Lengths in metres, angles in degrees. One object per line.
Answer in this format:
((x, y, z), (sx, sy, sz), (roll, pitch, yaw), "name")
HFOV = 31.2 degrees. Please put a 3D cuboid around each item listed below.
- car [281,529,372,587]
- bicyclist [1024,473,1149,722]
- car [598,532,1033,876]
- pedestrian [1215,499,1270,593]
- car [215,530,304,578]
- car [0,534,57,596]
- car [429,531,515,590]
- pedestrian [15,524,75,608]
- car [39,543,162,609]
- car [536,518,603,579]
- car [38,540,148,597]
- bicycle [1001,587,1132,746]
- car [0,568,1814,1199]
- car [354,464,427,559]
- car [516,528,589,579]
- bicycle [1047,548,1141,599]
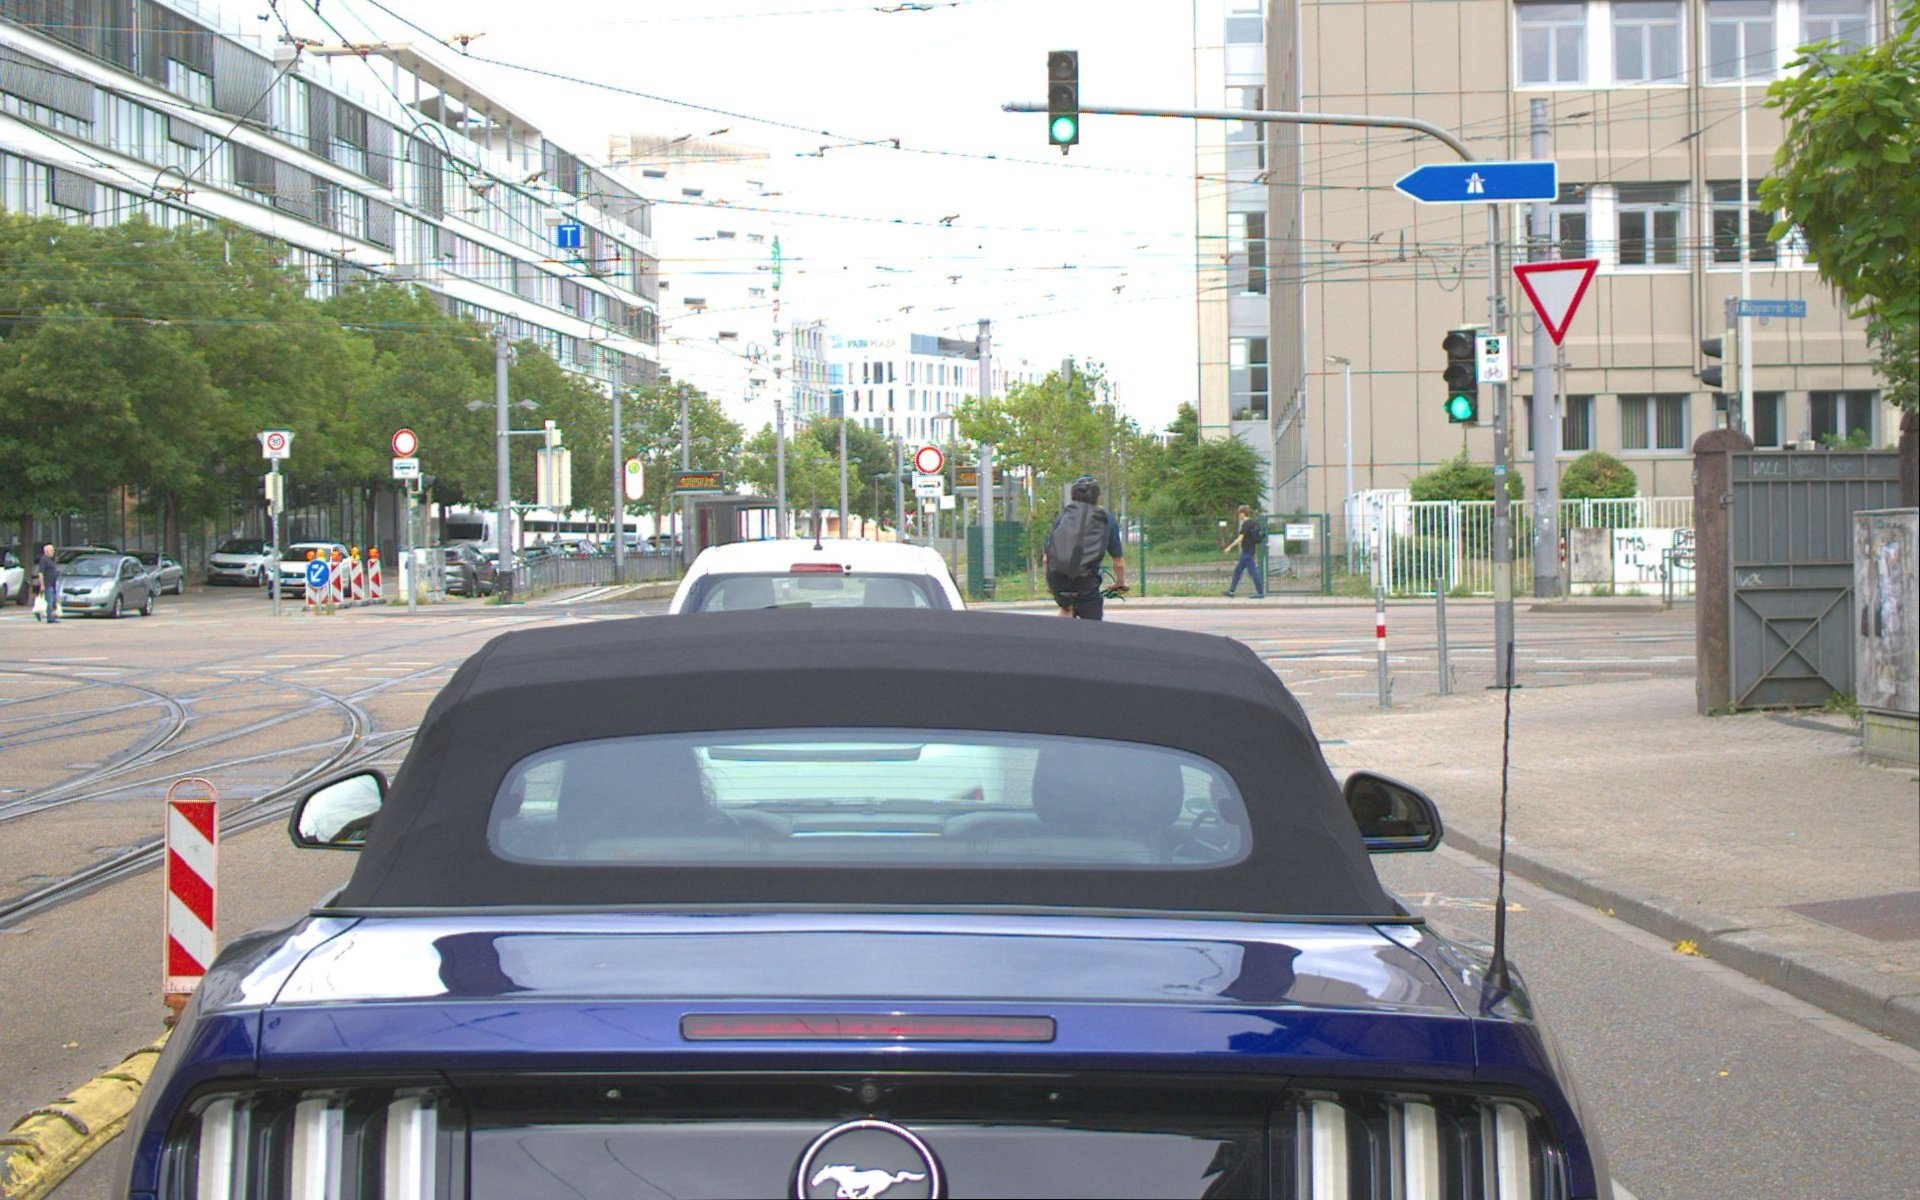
((-19.028, -1.285, 103.373), (1.715, 1.654, 4.133), (1, 1, 3), "car")
((0.916, -0.031, 25.254), (0.796, 1.779, 1.233), (-1, 1, -2), "bicyclist")
((-0.783, 0.398, 16.760), (1.835, 1.434, 4.188), (-1, 1, -5), "car")
((5.780, -1.109, 70.262), (1.086, 1.891, 0.902), (-1, 1, 5), "pedestrian")
((-23.679, -1.569, 116.342), (1.986, 1.551, 4.512), (1, 1, 1), "car")
((-25.503, -0.955, 91.008), (1.830, 1.551, 4.216), (1, 1, 3), "car")
((-13.778, -1.134, 97.249), (1.879, 1.623, 4.087), (-1, 1, -1), "car")
((-20.378, -0.754, 76.583), (0.989, 1.849, 0.901), (-1, 1, 7), "pedestrian")
((-20.714, -0.601, 83.006), (1.668, 1.501, 4.234), (1, 1, 3), "car")
((-13.144, -1.751, 115.946), (1.785, 1.980, 4.121), (-1, 1, -1), "car")
((-24.727, -0.917, 98.145), (1.830, 1.551, 4.216), (1, 1, 3), "car")
((0.767, 0.466, 25.369), (0.800, 1.082, 2.132), (-1, 1, -2), "bicycle")
((-0.142, 0.686, 5.436), (1.876, 1.399, 4.282), (1, 1, 0), "car")
((-22.389, -3.466, 135.332), (1.986, 3.624, 4.512), (1, 1, 1), "car")
((-13.101, -1.512, 110.781), (1.868, 1.600, 4.213), (-1, 1, -1), "car")
((2.831, -0.557, 72.720), (0.632, 0.977, 2.157), (-2, -1, -42), "bicycle")
